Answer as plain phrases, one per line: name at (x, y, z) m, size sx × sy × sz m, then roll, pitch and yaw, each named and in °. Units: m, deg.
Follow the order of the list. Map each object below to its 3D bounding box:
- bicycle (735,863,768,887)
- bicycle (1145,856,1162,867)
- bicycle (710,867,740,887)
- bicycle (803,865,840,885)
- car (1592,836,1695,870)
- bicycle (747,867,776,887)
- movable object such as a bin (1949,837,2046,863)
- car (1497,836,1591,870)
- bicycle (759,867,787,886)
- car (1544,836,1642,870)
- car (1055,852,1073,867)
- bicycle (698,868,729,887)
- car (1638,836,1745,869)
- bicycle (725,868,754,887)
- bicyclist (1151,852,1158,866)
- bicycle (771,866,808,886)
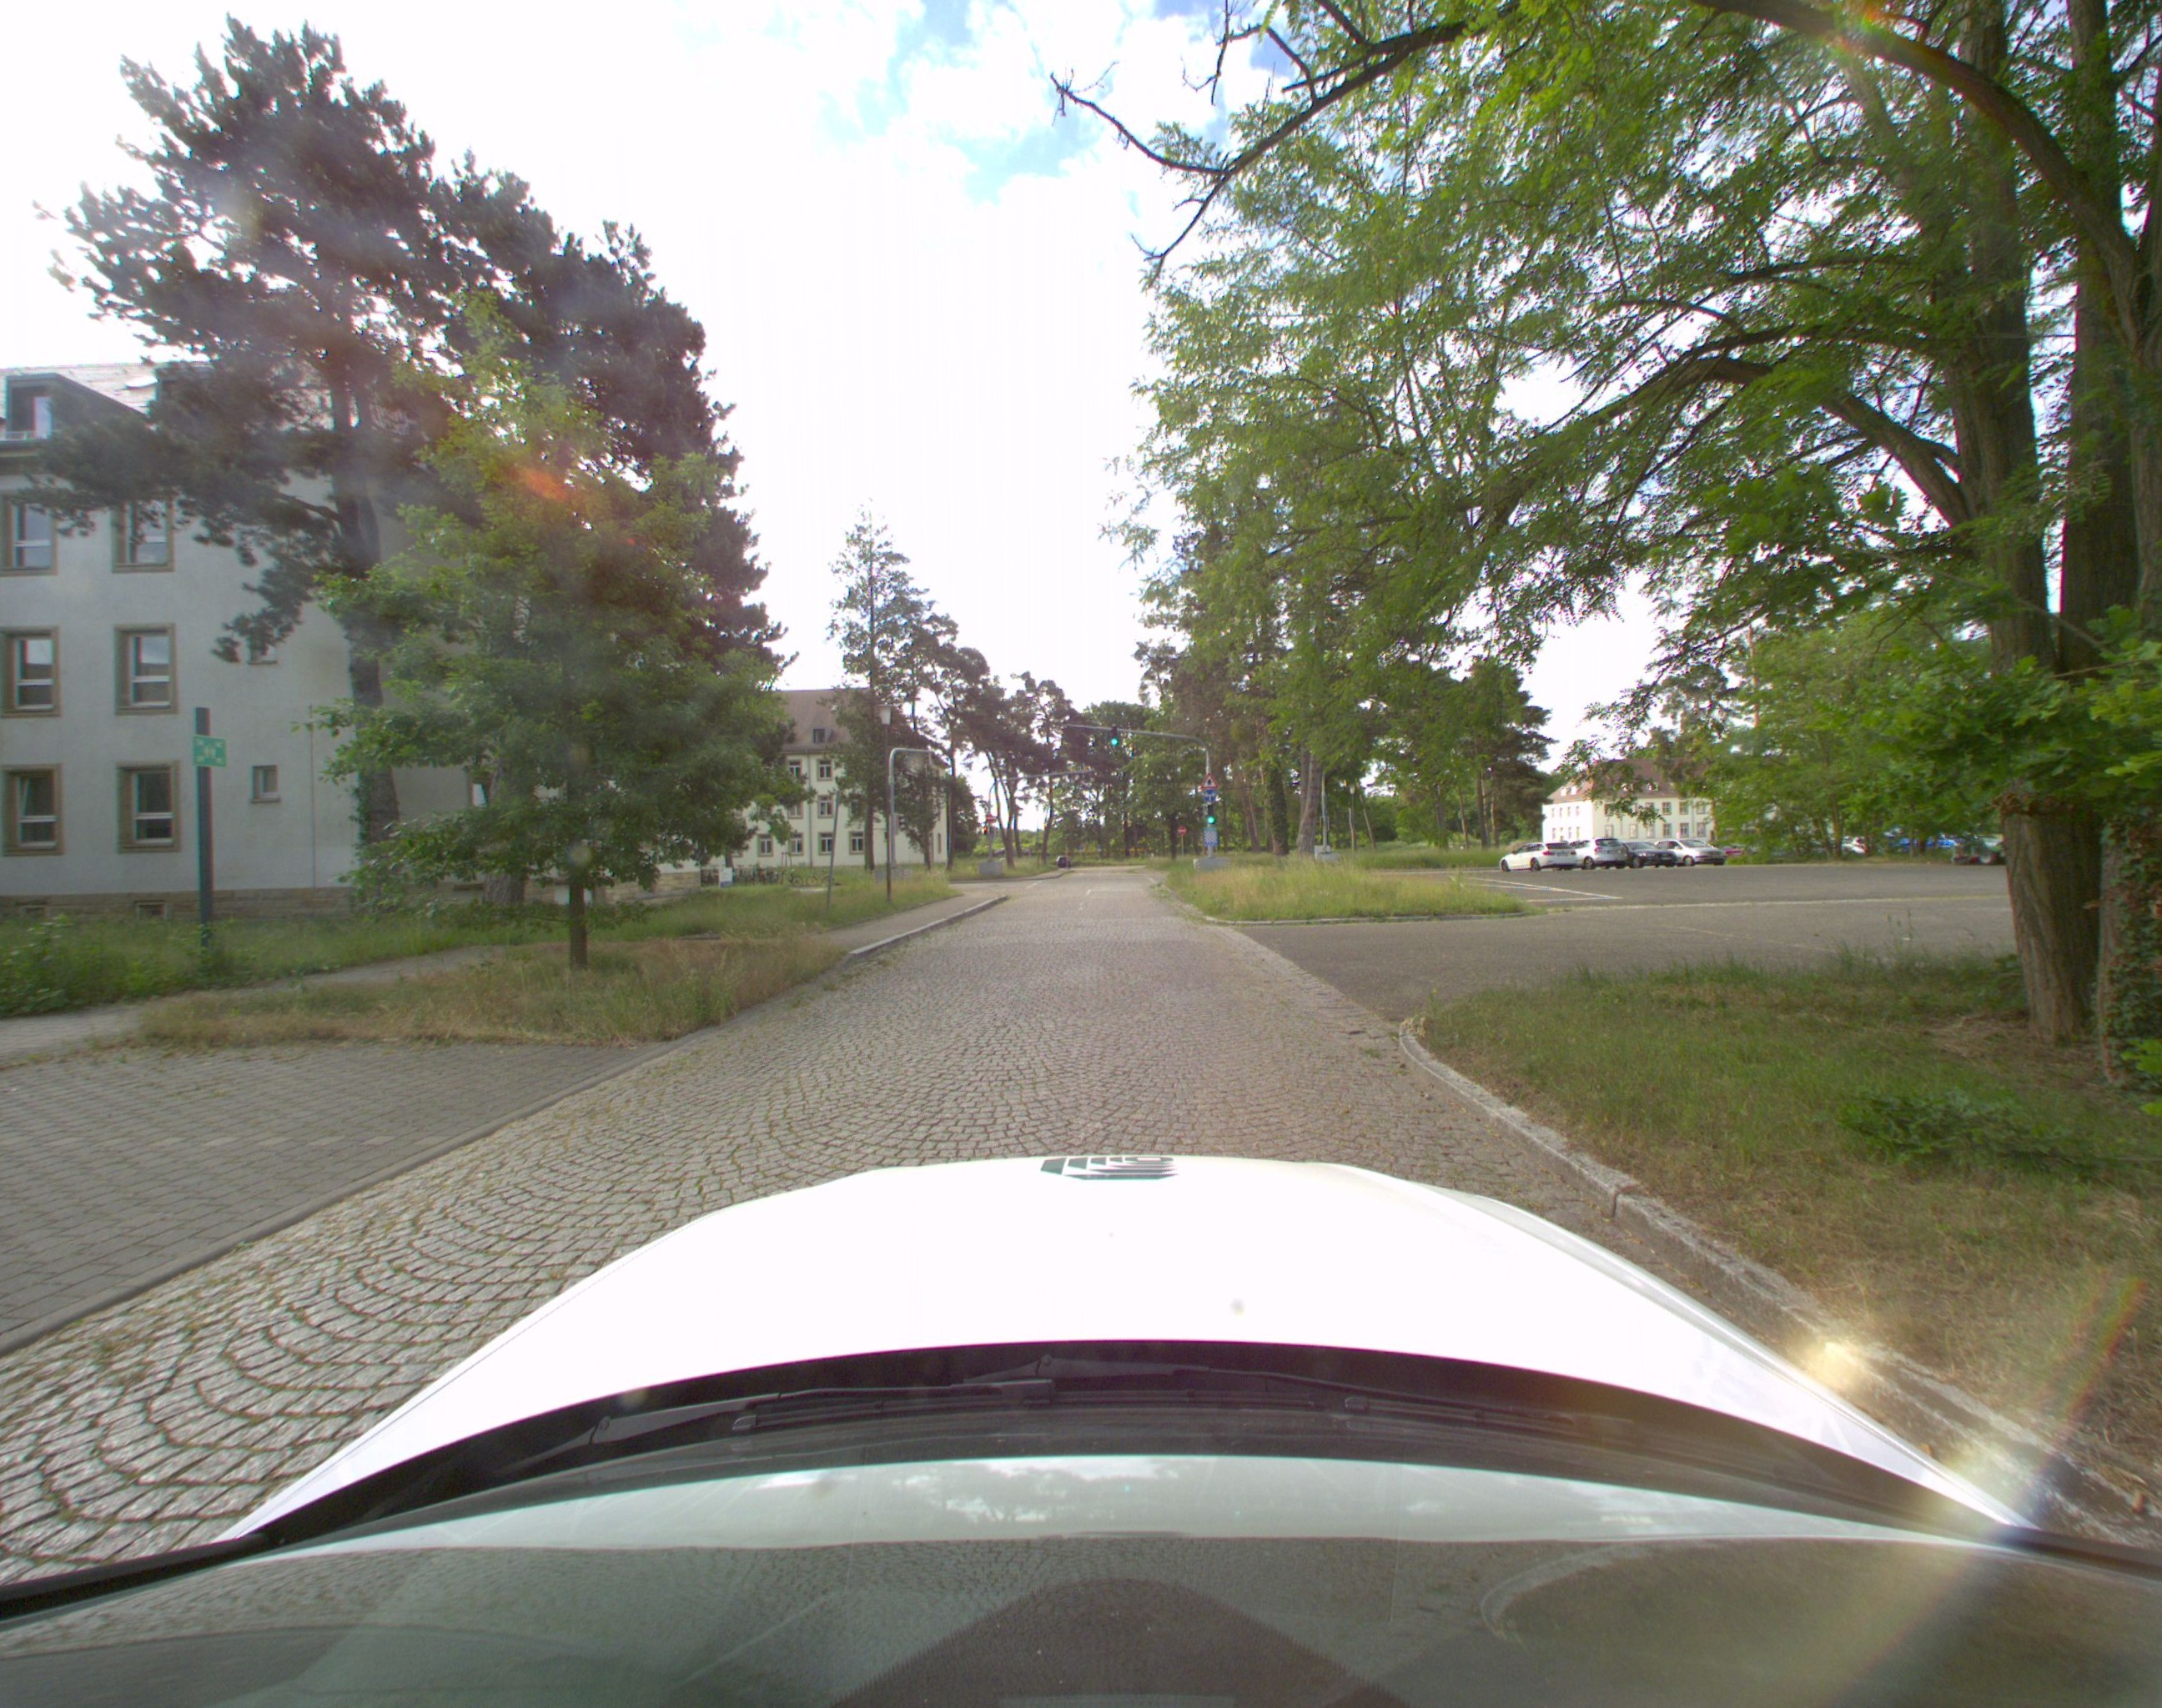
bicycle at (-19.779, 1.230, 48.982) m, size 0.733 × 1.385 × 2.713 m, roll -2°, pitch 0°, yaw 2°
bicycle at (8.894, 0.947, 99.962) m, size 1.976 × 1.320 × 0.514 m, roll 0°, pitch -1°, yaw -22°
bicycle at (-21.232, 1.372, 48.629) m, size 0.733 × 1.076 × 2.274 m, roll -2°, pitch 0°, yaw 2°
bicycle at (-15.078, 1.235, 47.390) m, size 1.848 × 1.076 × 0.832 m, roll -2°, pitch 0°, yaw 3°
car at (28.000, -0.004, 40.712) m, size 1.988 × 1.481 × 4.422 m, roll -2°, pitch -1°, yaw -2°
bicycle at (-19.045, 1.359, 48.610) m, size 0.733 × 1.076 × 2.274 m, roll -2°, pitch 0°, yaw 2°
movable object such as a bin at (31.229, -0.125, 27.804) m, size 1.179 × 0.825 × 1.957 m, roll -2°, pitch 0°, yaw 6°
car at (22.815, 0.003, 40.353) m, size 1.988 × 1.481 × 4.422 m, roll -2°, pitch -1°, yaw -2°
bicycle at (-18.403, 1.336, 48.676) m, size 0.733 × 1.076 × 2.274 m, roll -2°, pitch 0°, yaw 2°
car at (25.330, -0.001, 40.477) m, size 1.988 × 1.481 × 4.422 m, roll -2°, pitch -1°, yaw -2°
car at (-2.163, 0.653, 104.476) m, size 2.048 × 1.846 × 4.001 m, roll -2°, pitch 0°, yaw 1°
bicycle at (-21.961, 1.388, 48.717) m, size 0.733 × 1.076 × 2.274 m, roll -2°, pitch 0°, yaw 2°
car at (30.676, -0.026, 41.130) m, size 1.988 × 1.523 × 4.422 m, roll 0°, pitch -2°, yaw -2°
bicycle at (-20.571, 1.382, 49.109) m, size 0.733 × 1.076 × 2.274 m, roll -2°, pitch 0°, yaw 2°
bicyclist at (8.992, 0.640, 100.000) m, size 0.752 × 1.671 × 0.522 m, roll 0°, pitch -1°, yaw -22°
bicycle at (-16.961, 1.288, 47.392) m, size 1.848 × 1.076 × 0.739 m, roll -2°, pitch 0°, yaw 3°
